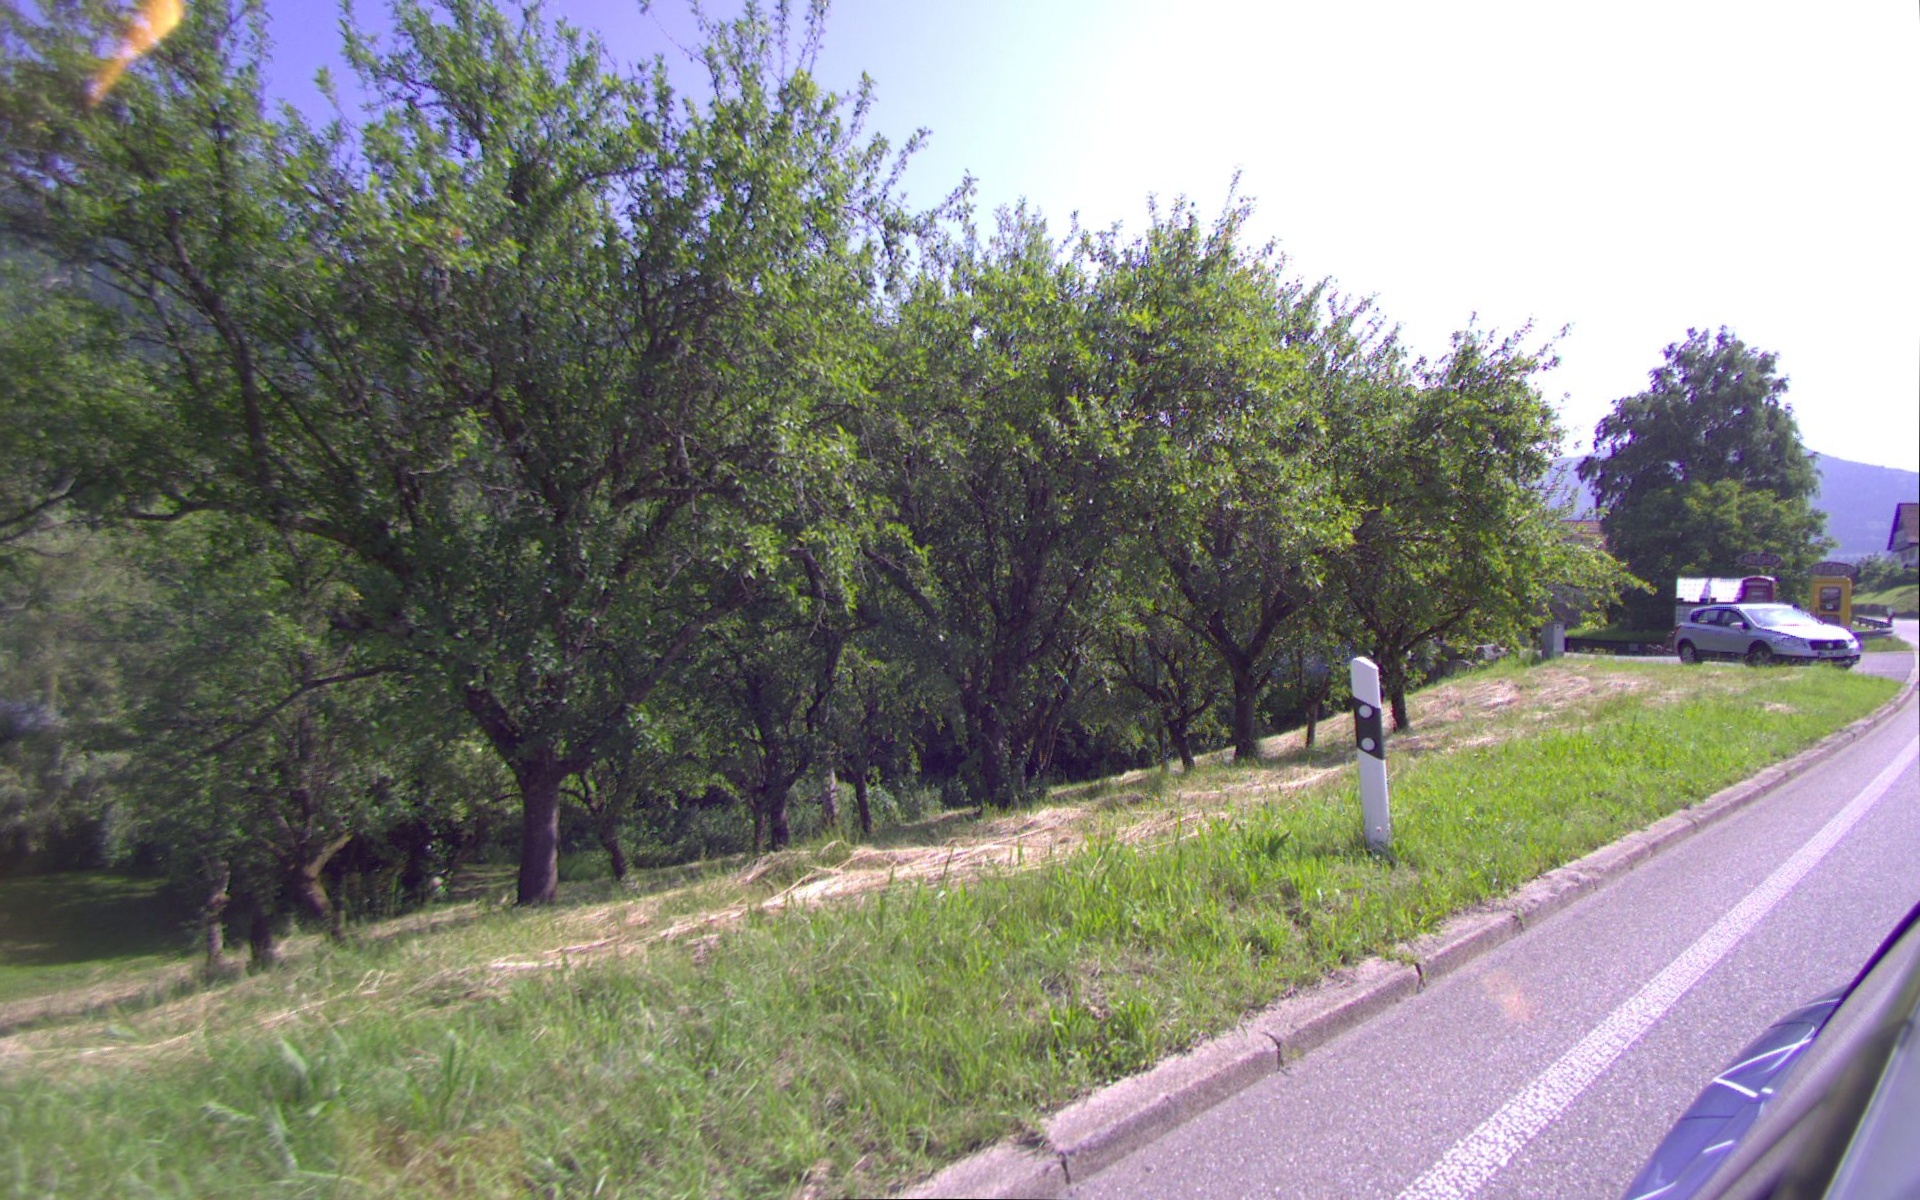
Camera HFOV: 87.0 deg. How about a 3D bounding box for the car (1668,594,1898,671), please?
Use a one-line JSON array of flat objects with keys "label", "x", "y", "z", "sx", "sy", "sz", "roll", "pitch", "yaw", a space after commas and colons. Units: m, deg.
[{"label": "car", "x": 18.981, "y": 0.741, "z": 23.659, "sx": 1.871, "sy": 1.591, "sz": 4.455, "roll": -2, "pitch": -1, "yaw": 4}]
